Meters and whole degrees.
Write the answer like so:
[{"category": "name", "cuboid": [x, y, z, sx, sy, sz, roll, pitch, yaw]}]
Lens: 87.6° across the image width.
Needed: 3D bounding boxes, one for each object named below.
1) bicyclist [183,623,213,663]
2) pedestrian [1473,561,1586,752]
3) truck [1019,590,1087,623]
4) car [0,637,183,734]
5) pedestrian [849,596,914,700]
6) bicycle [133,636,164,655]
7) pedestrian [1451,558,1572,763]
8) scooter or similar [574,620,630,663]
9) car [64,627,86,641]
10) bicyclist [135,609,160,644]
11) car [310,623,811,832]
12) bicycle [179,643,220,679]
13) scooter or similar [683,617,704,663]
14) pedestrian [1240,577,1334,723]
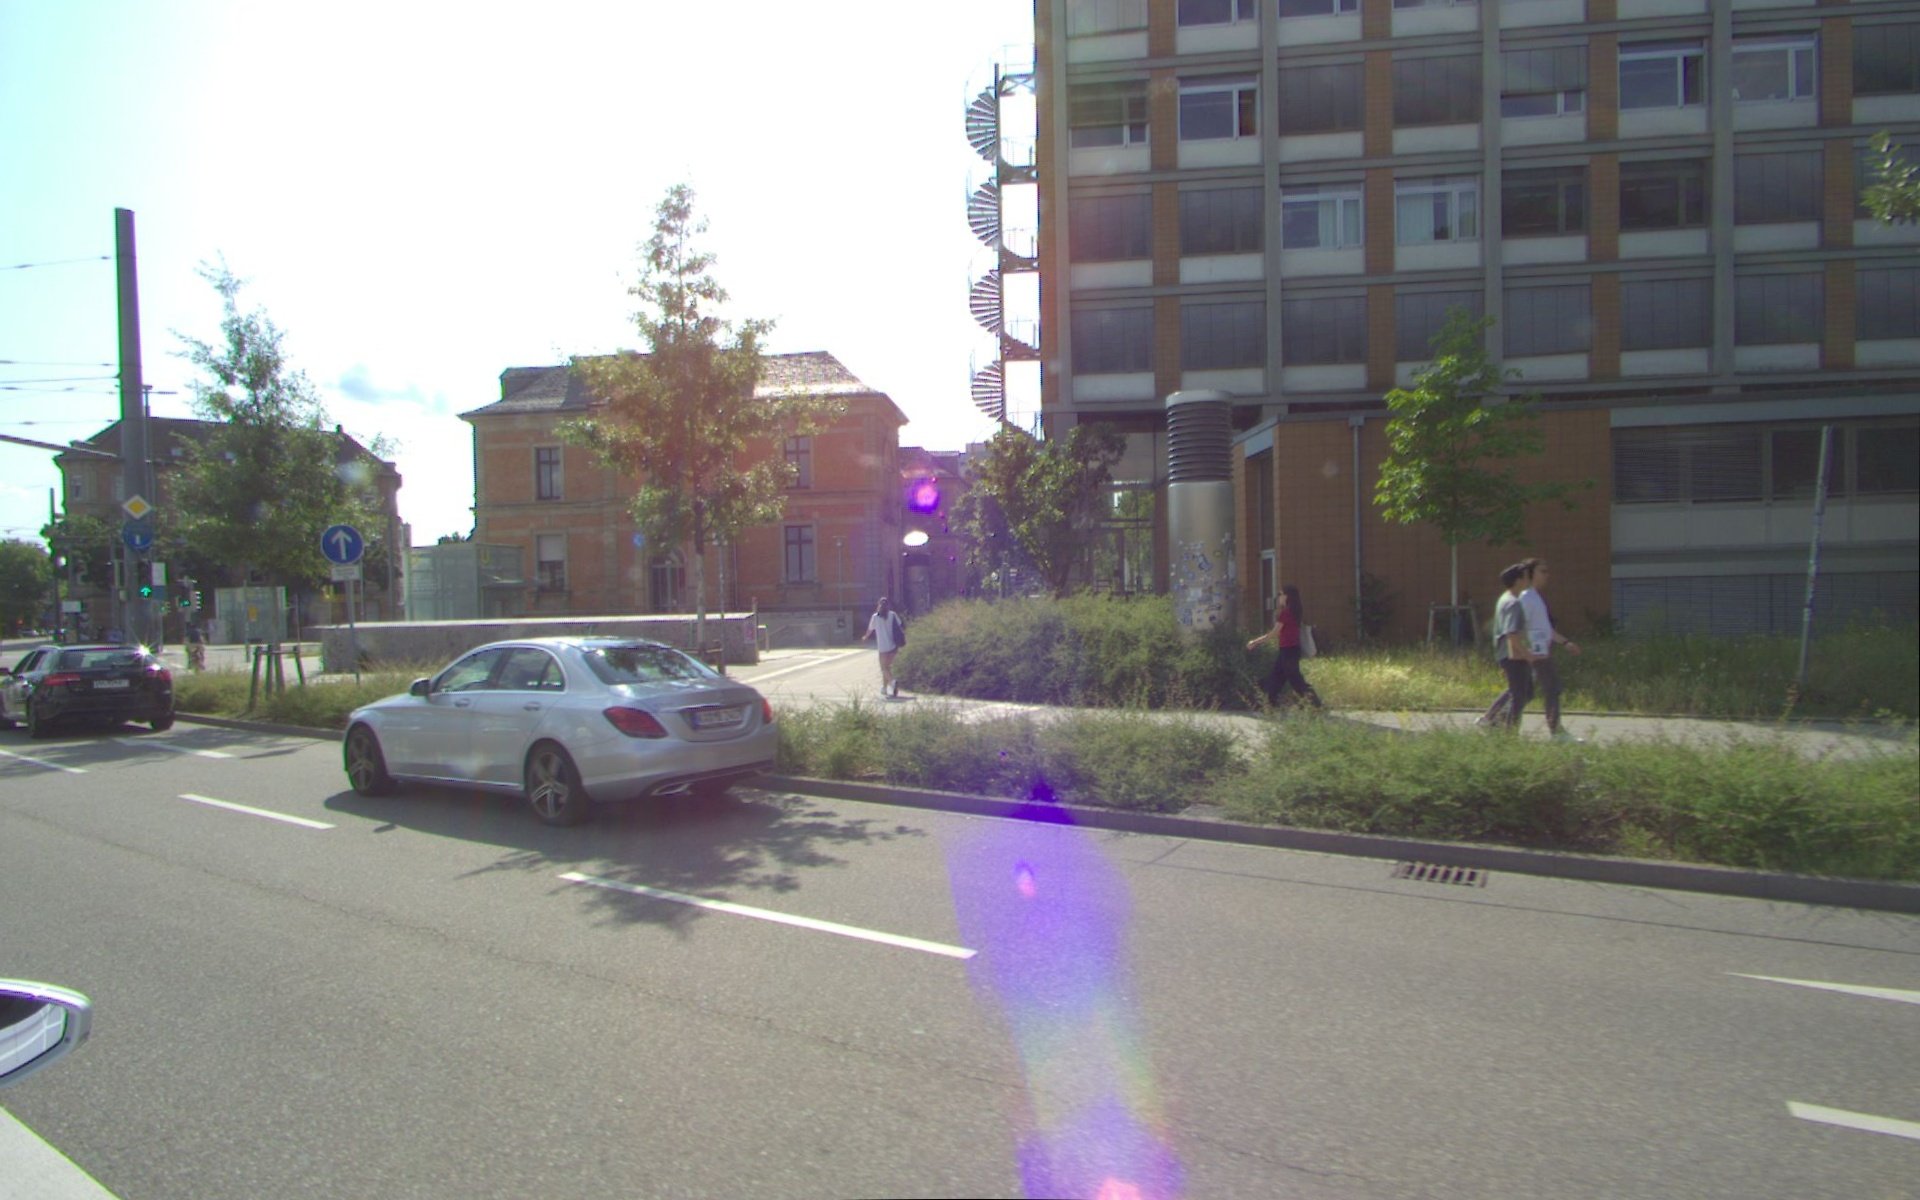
[{"category": "bicyclist", "cuboid": [-24.727, 1.397, 32.516, 0.628, 1.237, 0.918, -3, 2, -32]}, {"category": "pedestrian", "cuboid": [5.522, 0.528, 9.763, 0.876, 1.770, 0.741, -2, 2, 26]}, {"category": "truck", "cuboid": [6.209, 0.441, 66.663, 4.305, 2.039, 2.000, -1, -2, 11]}, {"category": "car", "cuboid": [-14.599, 1.339, 16.734, 4.083, 1.390, 1.691, -2, -1, 39]}, {"category": "pedestrian", "cuboid": [-1.330, 0.777, 16.802, 0.606, 1.644, 1.091, -4, 2, -29]}, {"category": "bicycle", "cuboid": [-34.727, 1.959, 42.825, 1.599, 0.786, 0.583, -2, 0, 34]}, {"category": "pedestrian", "cuboid": [5.018, 0.529, 9.172, 0.875, 1.778, 0.741, -2, 2, 25]}, {"category": "scooter or similar", "cuboid": [-9.923, 1.145, 27.766, 1.420, 1.133, 0.465, -1, 1, 12]}, {"category": "car", "cuboid": [-114.734, 4.431, 129.814, 1.820, 1.673, 3.971, 0, -2, -37]}, {"category": "bicyclist", "cuboid": [-34.744, 1.145, 42.811, 0.763, 1.470, 0.606, -1, 0, 34]}, {"category": "car", "cuboid": [-3.787, 0.982, 9.198, 4.692, 1.474, 1.926, -2, -1, 33]}, {"category": "bicycle", "cuboid": [-24.632, 1.956, 32.451, 0.838, 0.983, 1.949, -4, 2, -32]}, {"category": "scooter or similar", "cuboid": [-7.012, 1.040, 26.389, 0.457, 1.119, 1.316, -2, 1, -13]}, {"category": "pedestrian", "cuboid": [3.870, 0.575, 11.839, 0.878, 1.644, 0.612, -1, 2, 35]}]
